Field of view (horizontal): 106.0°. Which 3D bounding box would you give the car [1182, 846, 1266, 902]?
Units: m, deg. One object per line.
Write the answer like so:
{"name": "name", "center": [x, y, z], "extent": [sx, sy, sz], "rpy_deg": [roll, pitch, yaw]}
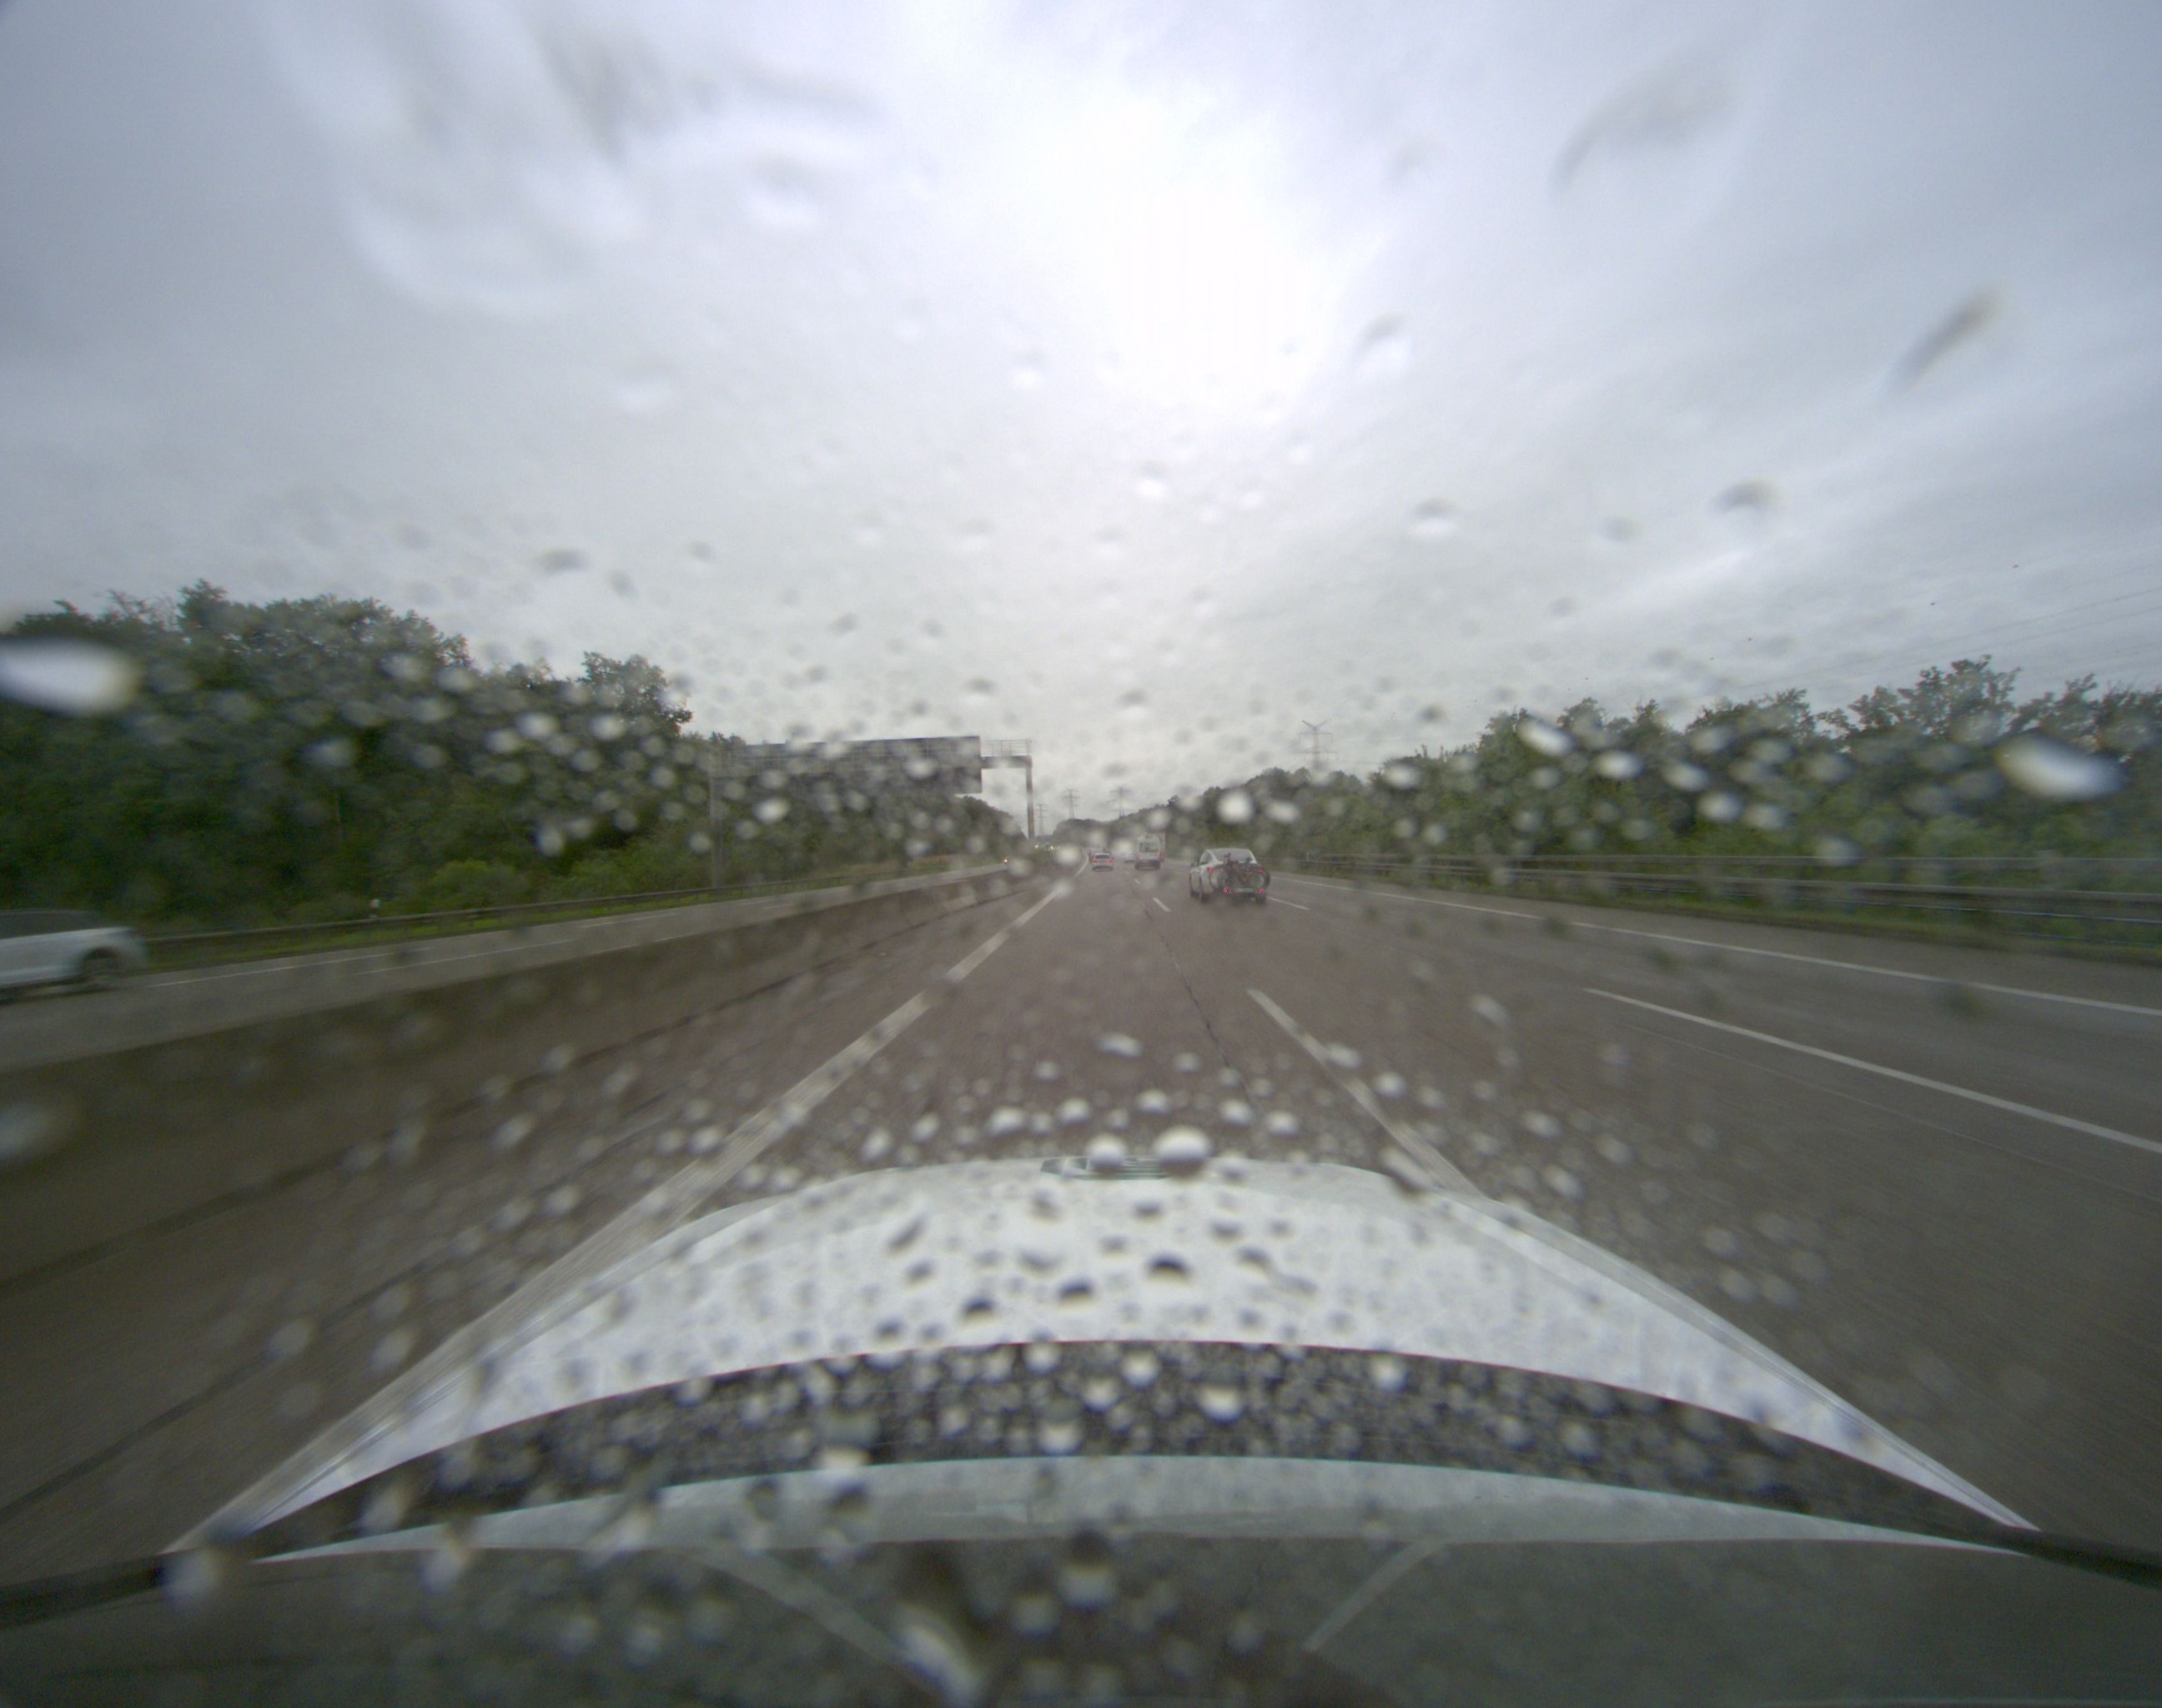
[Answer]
{"name": "car", "center": [4.370, 0.553, 25.575], "extent": [1.853, 1.568, 4.965], "rpy_deg": [-1, 0, 1]}

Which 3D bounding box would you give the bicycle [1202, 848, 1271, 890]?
{"name": "bicycle", "center": [4.287, 0.417, 22.597], "extent": [1.747, 1.090, 0.914], "rpy_deg": [-1, -1, 1]}

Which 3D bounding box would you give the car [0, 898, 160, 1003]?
{"name": "car", "center": [-18.421, 1.658, 13.396], "extent": [1.709, 1.585, 4.147], "rpy_deg": [-2, 0, 2]}

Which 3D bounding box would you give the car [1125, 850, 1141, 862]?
{"name": "car", "center": [6.542, 0.231, 102.476], "extent": [1.849, 1.422, 4.003], "rpy_deg": [-1, 0, 2]}

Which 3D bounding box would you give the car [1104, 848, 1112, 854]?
{"name": "car", "center": [7.120, -0.786, 214.461], "extent": [1.986, 1.574, 4.001], "rpy_deg": [-3, -1, 1]}

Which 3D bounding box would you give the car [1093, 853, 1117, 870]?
{"name": "car", "center": [1.980, 0.576, 67.725], "extent": [1.860, 1.288, 4.001], "rpy_deg": [-2, 0, 1]}

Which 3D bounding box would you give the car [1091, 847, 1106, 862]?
{"name": "car", "center": [2.155, 0.102, 101.036], "extent": [1.839, 1.772, 4.001], "rpy_deg": [0, 0, 1]}

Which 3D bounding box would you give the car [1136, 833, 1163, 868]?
{"name": "car", "center": [5.816, -0.283, 69.491], "extent": [1.985, 2.864, 4.003], "rpy_deg": [-2, 0, 3]}

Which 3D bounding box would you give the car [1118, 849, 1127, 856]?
{"name": "car", "center": [10.281, -0.399, 200.935], "extent": [1.986, 1.486, 4.001], "rpy_deg": [-4, 0, 1]}

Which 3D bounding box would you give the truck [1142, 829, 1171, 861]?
{"name": "truck", "center": [10.794, -1.283, 118.226], "extent": [3.588, 4.332, 13.211], "rpy_deg": [-2, 0, 3]}
